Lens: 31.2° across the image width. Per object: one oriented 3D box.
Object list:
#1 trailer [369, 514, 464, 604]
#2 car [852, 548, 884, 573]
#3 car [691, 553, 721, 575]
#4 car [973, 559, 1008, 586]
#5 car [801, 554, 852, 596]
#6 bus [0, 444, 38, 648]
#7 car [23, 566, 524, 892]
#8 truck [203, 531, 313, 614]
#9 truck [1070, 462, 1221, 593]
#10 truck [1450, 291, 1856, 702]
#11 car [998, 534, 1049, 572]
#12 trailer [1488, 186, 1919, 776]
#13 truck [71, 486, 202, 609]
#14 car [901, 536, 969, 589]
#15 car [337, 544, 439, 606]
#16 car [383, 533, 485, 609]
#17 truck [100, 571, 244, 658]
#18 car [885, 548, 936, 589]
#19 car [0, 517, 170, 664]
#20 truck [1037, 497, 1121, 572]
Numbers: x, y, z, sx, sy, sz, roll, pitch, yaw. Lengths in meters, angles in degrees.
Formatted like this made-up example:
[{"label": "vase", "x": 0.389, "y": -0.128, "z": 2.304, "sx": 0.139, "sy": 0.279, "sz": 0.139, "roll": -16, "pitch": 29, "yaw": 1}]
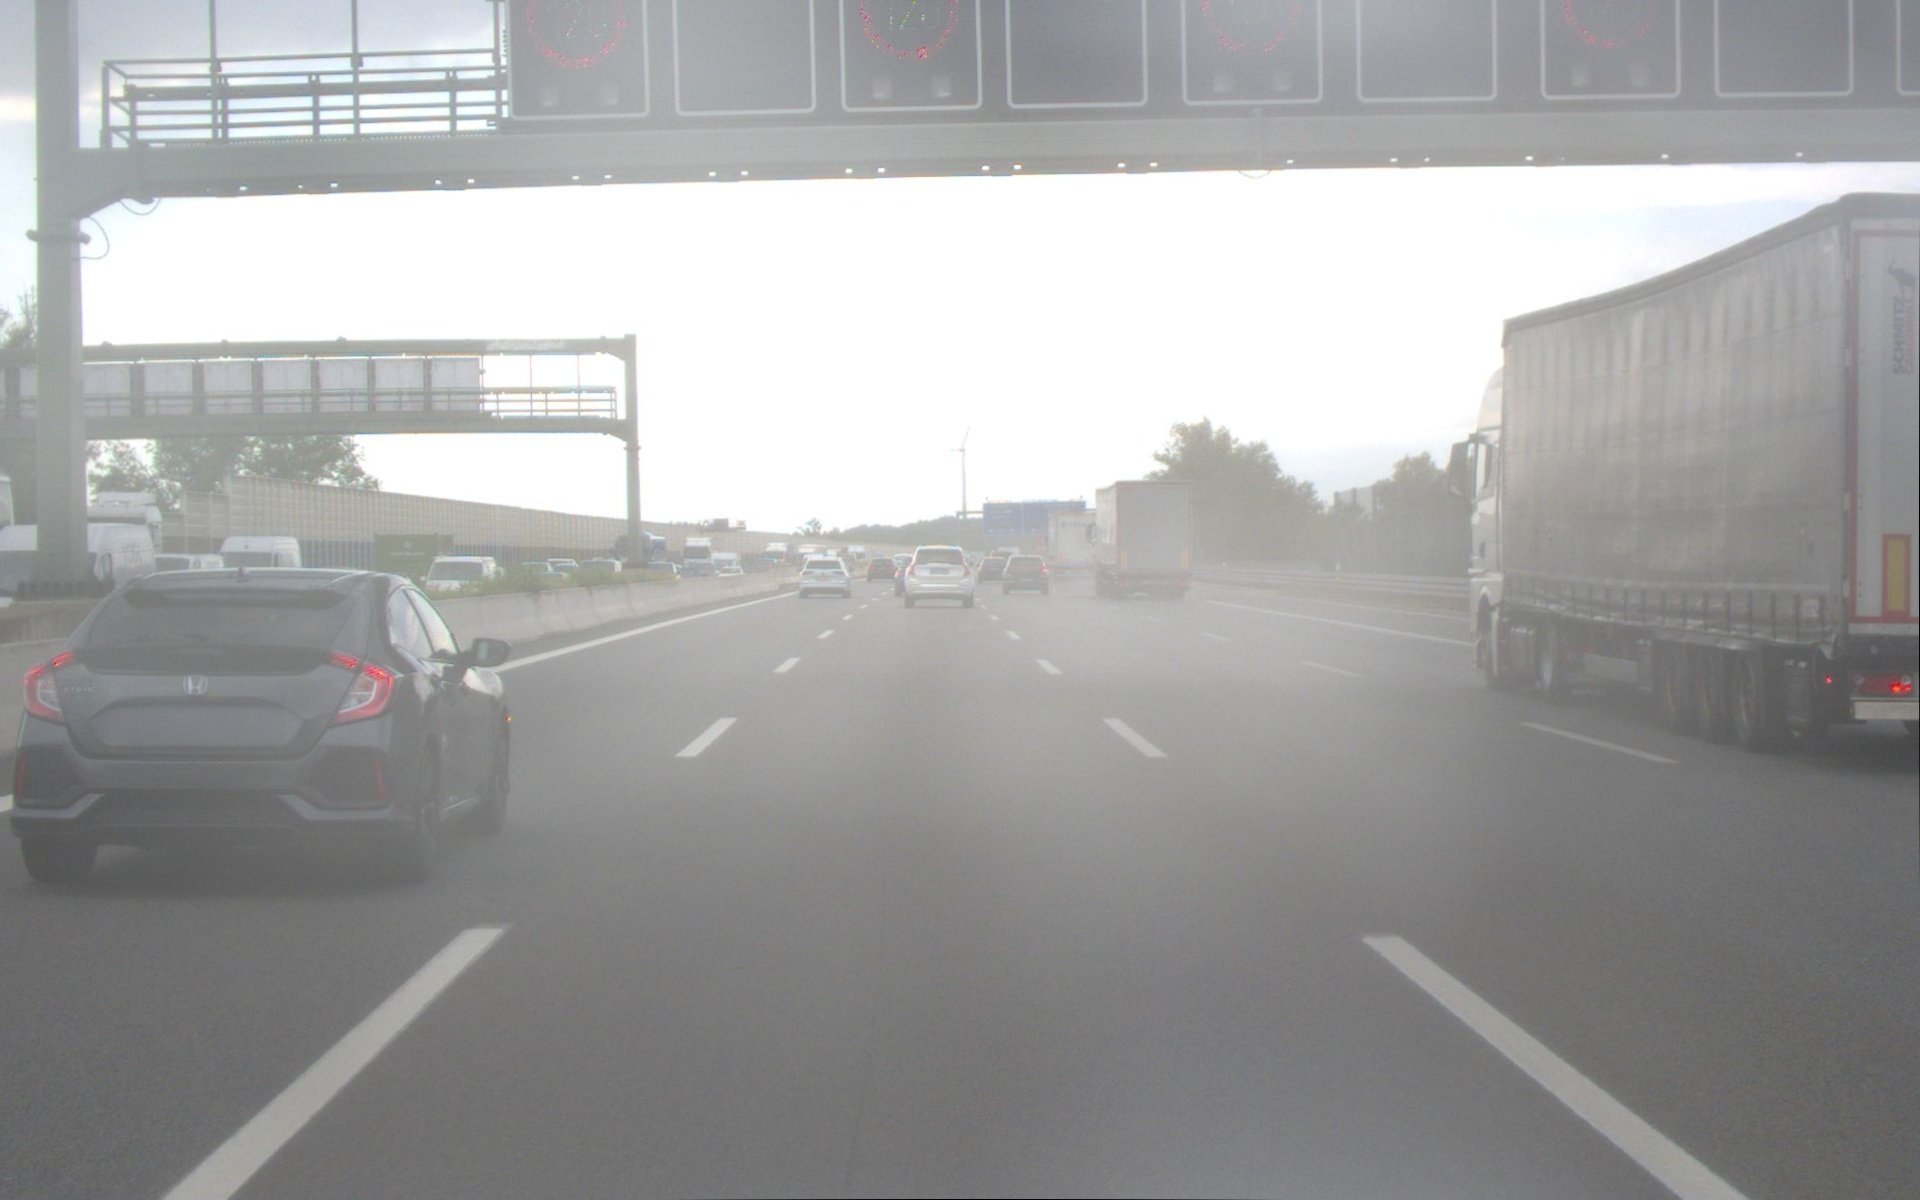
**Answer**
[{"label": "trailer", "x": -19.456, "y": -1.493, "z": 123.329, "sx": 2.449, "sy": 3.128, "sz": 6.051, "roll": 0, "pitch": 1, "yaw": 0}, {"label": "car", "x": -5.438, "y": -2.327, "z": 202.173, "sx": 1.772, "sy": 1.436, "sz": 4.056, "roll": 0, "pitch": 1, "yaw": -3}, {"label": "car", "x": -18.350, "y": -2.619, "z": 248.864, "sx": 1.747, "sy": 1.520, "sz": 4.927, "roll": 0, "pitch": 1, "yaw": 1}, {"label": "car", "x": 1.721, "y": -1.559, "z": 193.017, "sx": 1.835, "sy": 1.436, "sz": 4.056, "roll": 0, "pitch": 1, "yaw": -1}, {"label": "car", "x": -4.709, "y": -0.897, "z": 121.444, "sx": 1.772, "sy": 1.436, "sz": 3.874, "roll": 0, "pitch": 1, "yaw": -2}, {"label": "bus", "x": -18.593, "y": -0.941, "z": 59.023, "sx": 2.654, "sy": 3.667, "sz": 10.634, "roll": 0, "pitch": 1, "yaw": 0}, {"label": "car", "x": -3.336, "y": 0.543, "z": 17.633, "sx": 1.760, "sy": 1.364, "sz": 5.061, "roll": 0, "pitch": 1, "yaw": -3}, {"label": "truck", "x": -22.775, "y": -0.896, "z": 111.793, "sx": 2.243, "sy": 2.595, "sz": 6.559, "roll": 0, "pitch": 1, "yaw": 0}, {"label": "truck", "x": 6.391, "y": -2.525, "z": 120.820, "sx": 4.179, "sy": 4.273, "sz": 12.614, "roll": 1, "pitch": 1, "yaw": -2}, {"label": "truck", "x": 7.274, "y": -1.082, "z": 37.062, "sx": 2.961, "sy": 4.006, "sz": 6.589, "roll": 1, "pitch": 1, "yaw": 0}, {"label": "car", "x": 2.486, "y": -1.854, "z": 134.936, "sx": 1.835, "sy": 1.436, "sz": 4.056, "roll": 0, "pitch": 1, "yaw": -1}, {"label": "trailer", "x": 7.316, "y": -0.945, "z": 30.447, "sx": 2.961, "sy": 4.006, "sz": 14.119, "roll": 1, "pitch": 1, "yaw": 0}, {"label": "truck", "x": -26.690, "y": -1.692, "z": 111.689, "sx": 2.752, "sy": 3.874, "sz": 6.051, "roll": 0, "pitch": 1, "yaw": 0}, {"label": "car", "x": -0.722, "y": -1.086, "z": 98.070, "sx": 1.772, "sy": 1.436, "sz": 4.056, "roll": 0, "pitch": 1, "yaw": -3}, {"label": "car", "x": -19.449, "y": -0.885, "z": 117.205, "sx": 2.449, "sy": 2.044, "sz": 6.194, "roll": 0, "pitch": 1, "yaw": 0}, {"label": "car", "x": -15.955, "y": -0.883, "z": 104.486, "sx": 2.230, "sy": 2.229, "sz": 5.513, "roll": 0, "pitch": 1, "yaw": 0}, {"label": "truck", "x": -18.738, "y": 0.310, "z": 82.017, "sx": 2.243, "sy": 1.993, "sz": 5.545, "roll": 0, "pitch": 1, "yaw": -1}, {"label": "car", "x": -1.836, "y": -1.177, "z": 126.735, "sx": 1.772, "sy": 1.436, "sz": 4.056, "roll": 0, "pitch": 1, "yaw": -3}, {"label": "car", "x": -15.019, "y": -0.199, "z": 58.157, "sx": 2.136, "sy": 2.343, "sz": 5.711, "roll": 1, "pitch": 1, "yaw": -2}, {"label": "truck", "x": 6.882, "y": -3.811, "z": 200.949, "sx": 4.243, "sy": 4.162, "sz": 11.990, "roll": 1, "pitch": 1, "yaw": -1}]
